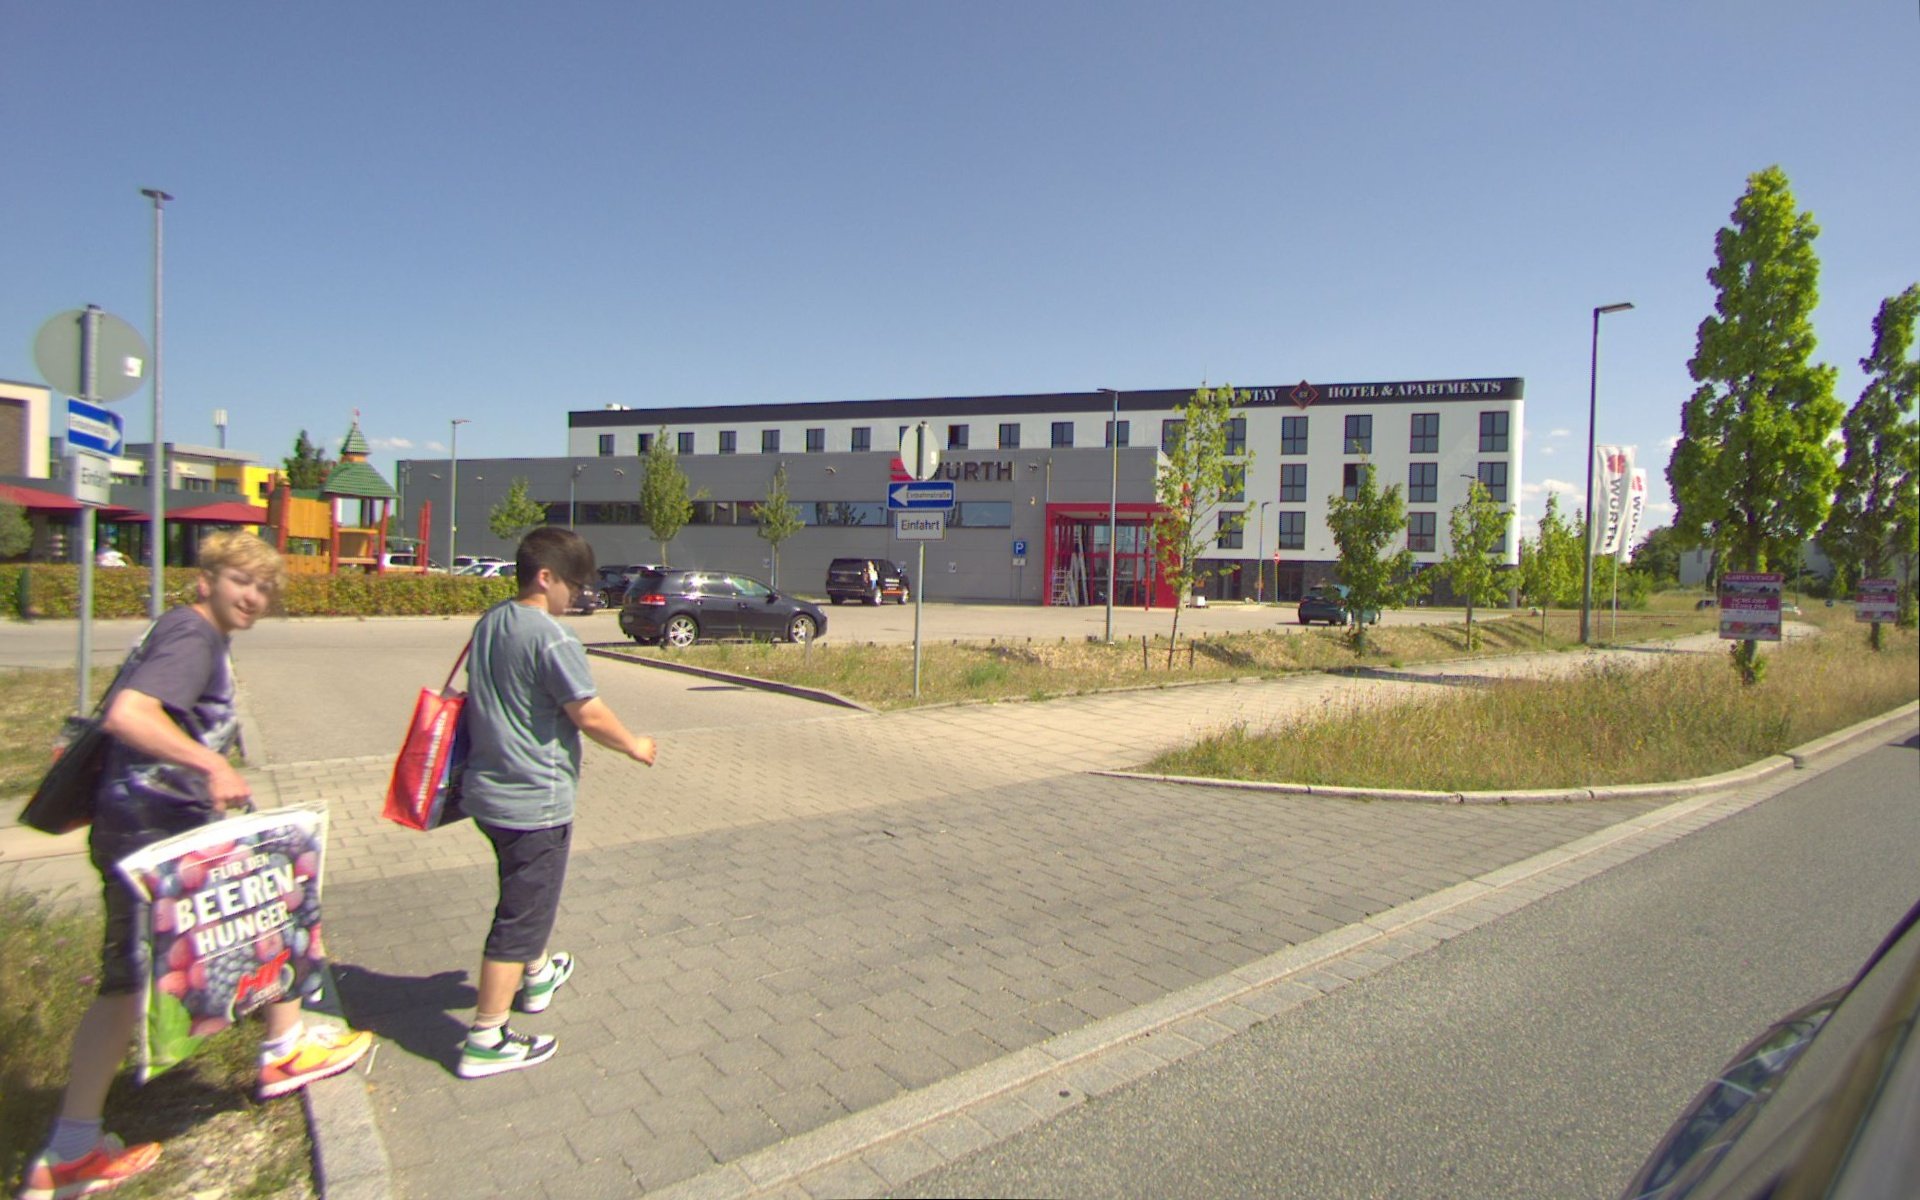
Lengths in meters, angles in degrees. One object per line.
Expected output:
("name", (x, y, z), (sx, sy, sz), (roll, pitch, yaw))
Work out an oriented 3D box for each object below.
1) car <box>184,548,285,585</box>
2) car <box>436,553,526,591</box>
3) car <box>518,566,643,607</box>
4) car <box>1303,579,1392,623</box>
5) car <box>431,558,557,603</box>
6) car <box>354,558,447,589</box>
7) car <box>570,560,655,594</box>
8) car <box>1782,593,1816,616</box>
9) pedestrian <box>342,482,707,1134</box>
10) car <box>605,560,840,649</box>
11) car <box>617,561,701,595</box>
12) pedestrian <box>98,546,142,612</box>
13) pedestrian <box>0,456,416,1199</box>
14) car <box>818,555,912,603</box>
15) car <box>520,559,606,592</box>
("car", (-38.454, -1.758, 53.658), (4.863, 1.838, 2.035), (2, 1, 21))
("car", (-23.638, -1.398, 50.061), (1.679, 1.779, 4.085), (1, 1, 18))
("car", (-12.107, -0.459, 32.584), (1.631, 1.227, 4.113), (1, 1, 17))
("car", (13.627, 0.020, 35.509), (1.513, 1.425, 3.937), (2, 2, 43))
("car", (-16.244, -0.694, 35.524), (1.679, 1.490, 4.210), (1, 1, 17))
("car", (-28.142, -1.328, 51.066), (1.679, 1.480, 4.085), (1, 1, 18))
("car", (-16.298, -1.091, 47.665), (1.679, 1.480, 4.085), (1, 1, 18))
("car", (60.605, 0.304, 73.078), (1.780, 1.512, 3.941), (1, 1, 41))
("pedestrian", (-1.360, 0.518, 3.144), (0.851, 1.649, 0.810), (0, 1, -40))
("car", (-4.555, 0.036, 19.708), (4.095, 1.559, 1.784), (0, 2, -40))
("car", (-13.872, -1.018, 46.871), (1.679, 1.480, 4.085), (1, 1, 18))
("pedestrian", (-22.959, -0.581, 27.651), (0.515, 1.771, 0.812), (1, 1, 32))
("pedestrian", (-1.896, 0.532, 2.542), (0.790, 1.650, 0.802), (0, 1, -40))
("car", (-3.844, -0.880, 41.898), (2.023, 1.838, 4.893), (2, 1, 20))
("car", (-19.071, -1.179, 48.773), (1.679, 1.480, 4.085), (1, 1, 18))
